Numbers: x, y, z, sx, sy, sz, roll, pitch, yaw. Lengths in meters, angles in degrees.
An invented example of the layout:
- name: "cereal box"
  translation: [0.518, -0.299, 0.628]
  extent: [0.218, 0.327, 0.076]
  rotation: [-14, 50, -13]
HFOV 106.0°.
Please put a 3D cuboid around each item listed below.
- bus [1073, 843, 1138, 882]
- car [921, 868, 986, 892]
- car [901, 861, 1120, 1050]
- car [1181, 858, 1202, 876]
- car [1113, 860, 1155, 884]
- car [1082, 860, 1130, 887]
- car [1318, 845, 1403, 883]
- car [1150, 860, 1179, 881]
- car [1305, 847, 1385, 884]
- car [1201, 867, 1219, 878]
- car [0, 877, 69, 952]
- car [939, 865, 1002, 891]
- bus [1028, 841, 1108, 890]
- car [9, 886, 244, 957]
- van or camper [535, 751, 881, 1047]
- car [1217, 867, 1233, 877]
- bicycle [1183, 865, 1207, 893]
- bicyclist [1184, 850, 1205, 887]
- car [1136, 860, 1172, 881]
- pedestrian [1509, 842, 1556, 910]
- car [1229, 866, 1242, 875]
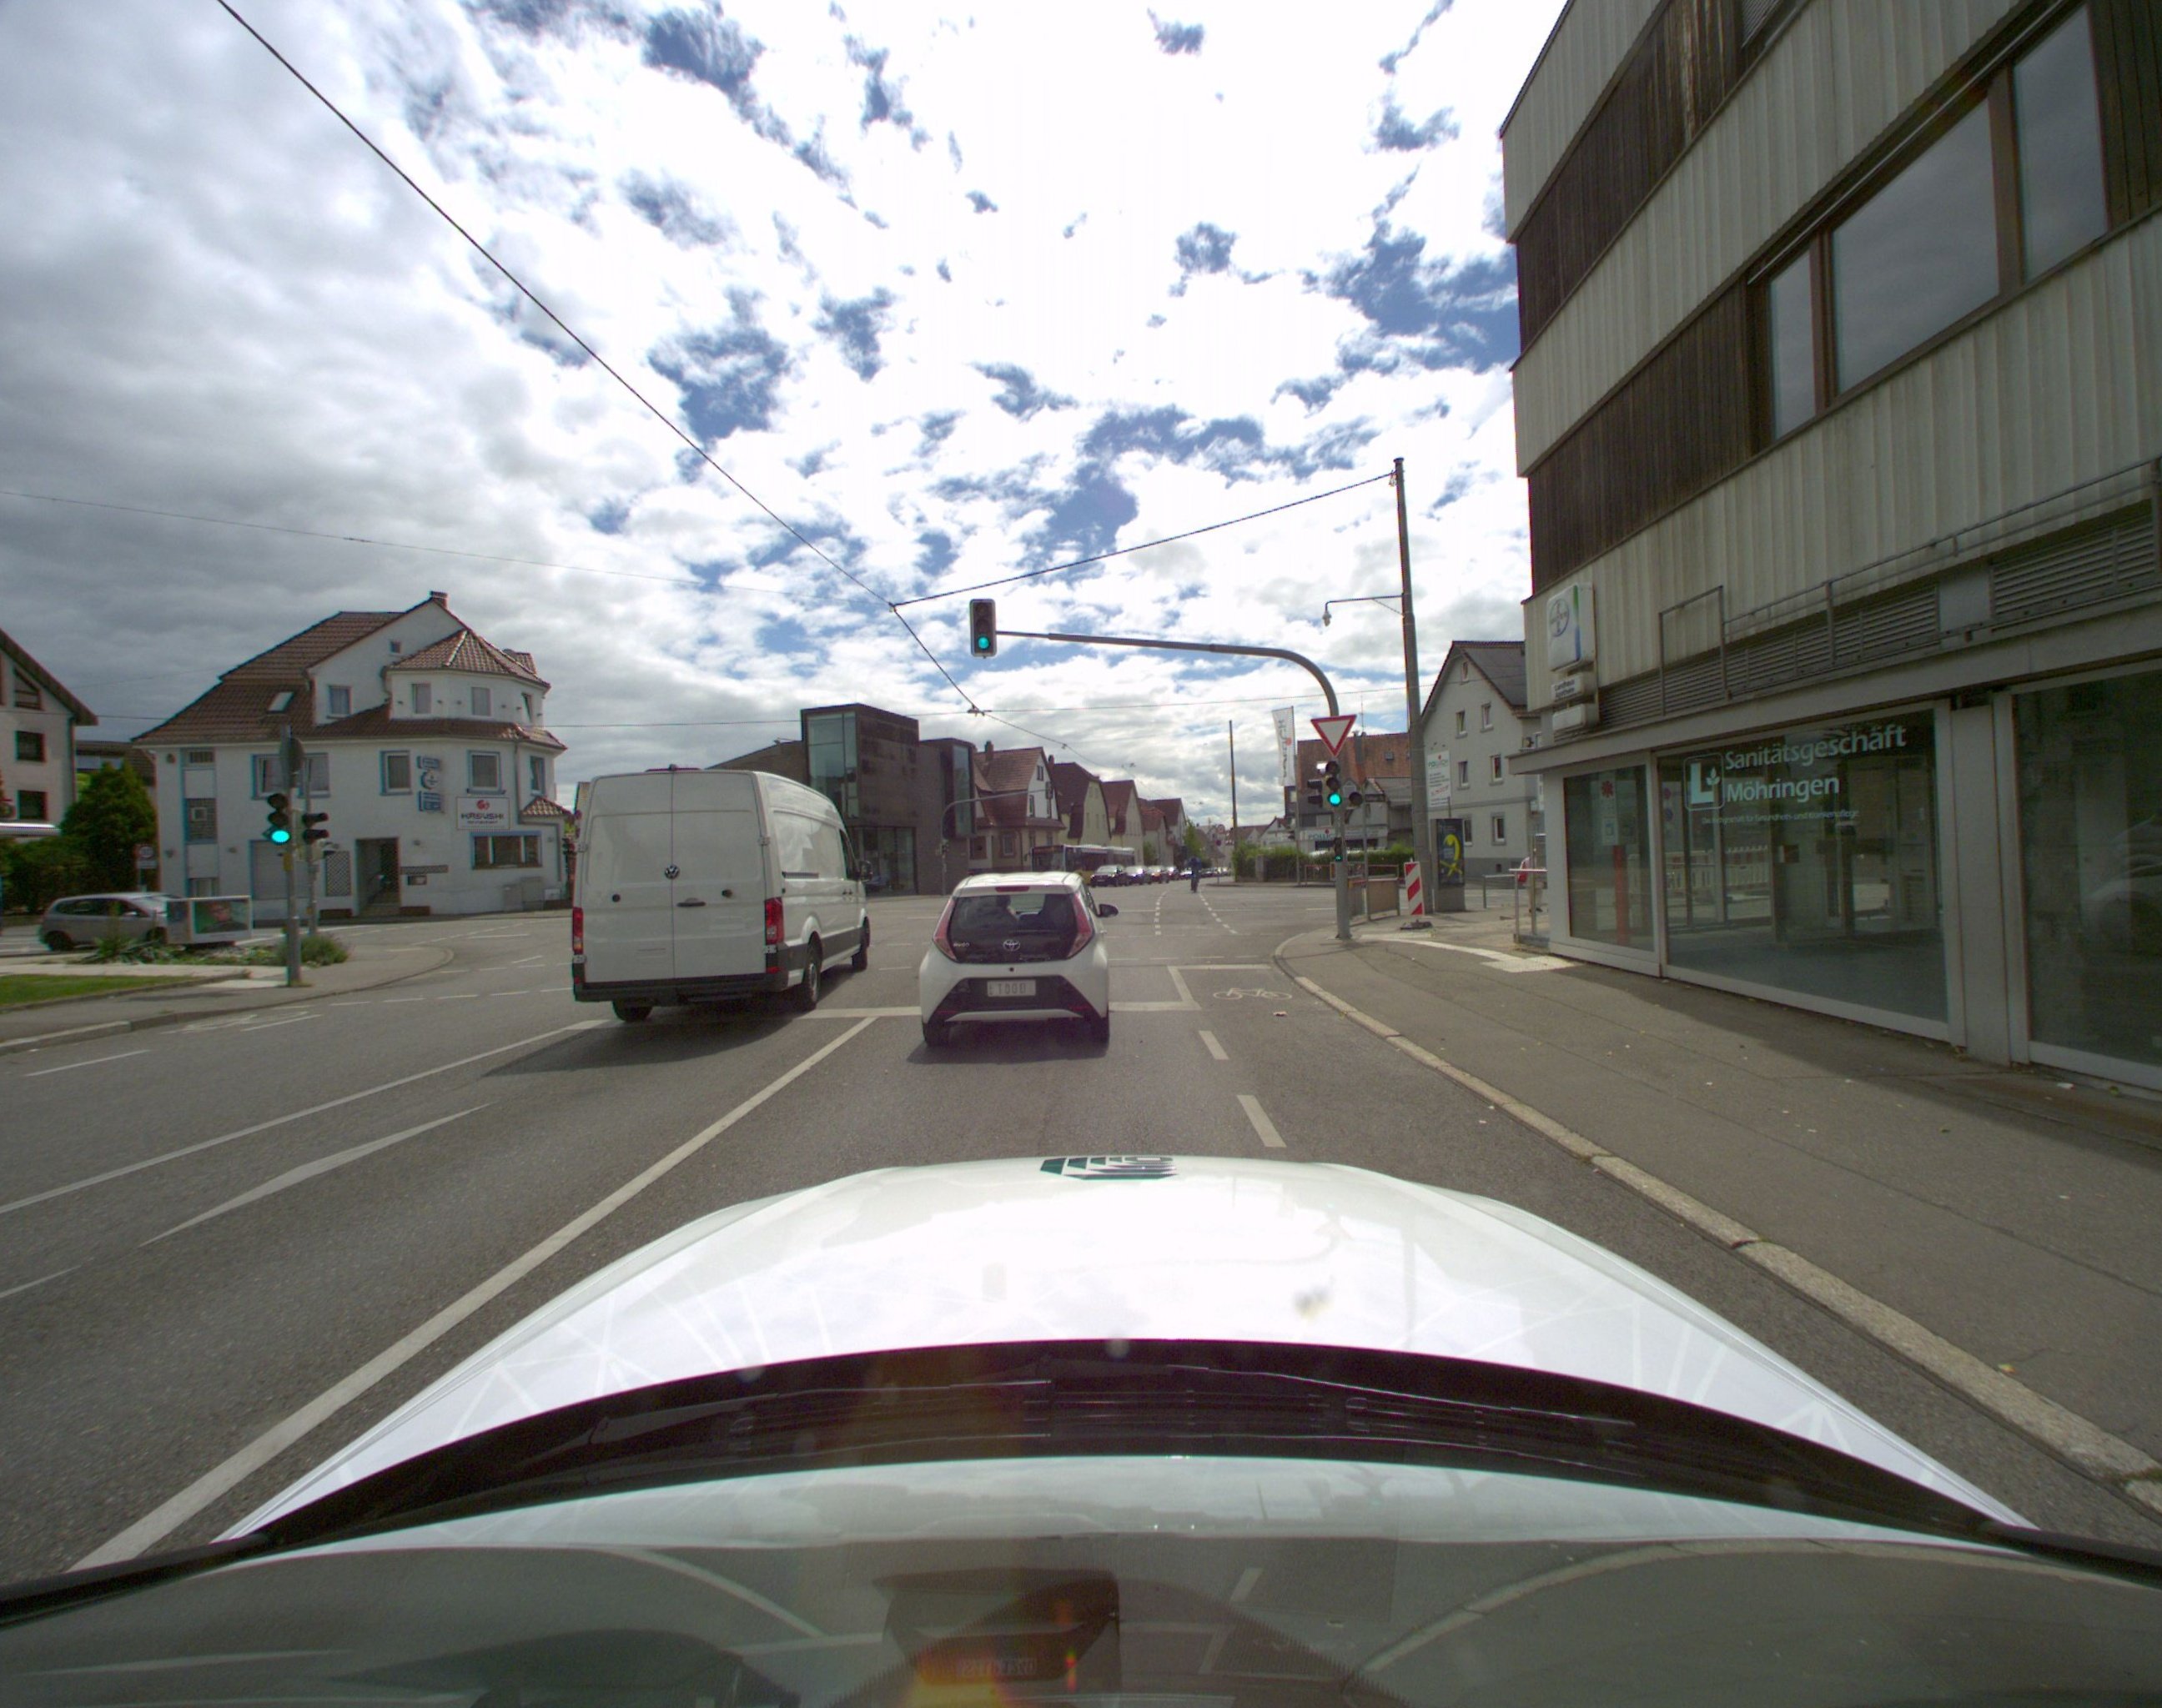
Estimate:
- name: "bus"
  translation: [2.167, 0.648, 65.806]
  extent: [2.756, 2.915, 9.233]
  rotation: [-1, 0, 18]
- name: "car"
  translation: [-8.807, 1.782, 56.302]
  extent: [3.957, 1.640, 2.008]
  rotation: [-1, 0, 15]
- name: "car"
  translation: [-0.515, 0.837, 8.349]
  extent: [1.732, 1.460, 3.533]
  rotation: [-2, 0, 2]
- name: "car"
  translation: [13.246, 1.506, 97.602]
  extent: [1.979, 2.014, 4.016]
  rotation: [-1, 0, 15]
- name: "car"
  translation: [3.879, 1.297, 59.220]
  extent: [1.977, 1.640, 4.204]
  rotation: [-1, 0, 19]
- name: "car"
  translation: [1.711, 1.272, 53.986]
  extent: [1.977, 1.640, 4.020]
  rotation: [-1, 0, 19]
- name: "car"
  translation: [15.524, 0.559, 45.292]
  extent: [3.983, 1.948, 1.995]
  rotation: [-1, -1, -7]
- name: "car"
  translation: [8.708, 1.717, 84.742]
  extent: [1.976, 2.014, 4.021]
  rotation: [-2, -1, 22]
- name: "car"
  translation: [15.468, 0.659, 47.867]
  extent: [3.982, 2.014, 1.995]
  rotation: [-1, -1, -7]
- name: "car"
  translation: [19.825, 2.834, 125.075]
  extent: [1.977, 1.640, 4.020]
  rotation: [-1, 0, 19]
- name: "car"
  translation: [-32.019, 1.747, 23.018]
  extent: [3.981, 2.013, 1.996]
  rotation: [-1, 1, -6]
- name: "car"
  translation: [-7.980, 1.733, 59.069]
  extent: [3.957, 1.684, 2.008]
  rotation: [-3, -1, 15]
- name: "bus"
  translation: [-0.723, 0.757, 56.836]
  extent: [2.756, 3.060, 9.233]
  rotation: [-1, 0, 18]
- name: "car"
  translation: [-26.657, 1.849, 22.888]
  extent: [3.981, 1.684, 1.996]
  rotation: [-2, 0, -5]
- name: "van or camper"
  translation: [-4.081, 0.420, 10.252]
  extent: [2.104, 2.587, 5.634]
  rotation: [-3, 0, -6]
- name: "car"
  translation: [24.673, 3.026, 139.634]
  extent: [1.977, 1.640, 4.020]
  rotation: [-1, 0, 19]
- name: "bicycle"
  translation: [5.160, 1.110, 36.993]
  extent: [0.828, 1.164, 2.193]
  rotation: [-2, 0, 3]
- name: "bicyclist"
  translation: [5.163, 0.662, 37.067]
  extent: [0.837, 1.614, 1.083]
  rotation: [1, -1, 2]
- name: "car"
  translation: [5.965, 1.323, 66.219]
  extent: [1.977, 1.640, 4.020]
  rotation: [-1, 0, 19]
- name: "pedestrian"
  translation: [11.099, 0.538, 20.042]
  extent: [0.827, 1.637, 0.878]
  rotation: [-2, -1, 18]
- name: "car"
  translation: [30.439, 3.311, 160.488]
  extent: [1.977, 1.640, 4.020]
  rotation: [-1, 0, 19]
